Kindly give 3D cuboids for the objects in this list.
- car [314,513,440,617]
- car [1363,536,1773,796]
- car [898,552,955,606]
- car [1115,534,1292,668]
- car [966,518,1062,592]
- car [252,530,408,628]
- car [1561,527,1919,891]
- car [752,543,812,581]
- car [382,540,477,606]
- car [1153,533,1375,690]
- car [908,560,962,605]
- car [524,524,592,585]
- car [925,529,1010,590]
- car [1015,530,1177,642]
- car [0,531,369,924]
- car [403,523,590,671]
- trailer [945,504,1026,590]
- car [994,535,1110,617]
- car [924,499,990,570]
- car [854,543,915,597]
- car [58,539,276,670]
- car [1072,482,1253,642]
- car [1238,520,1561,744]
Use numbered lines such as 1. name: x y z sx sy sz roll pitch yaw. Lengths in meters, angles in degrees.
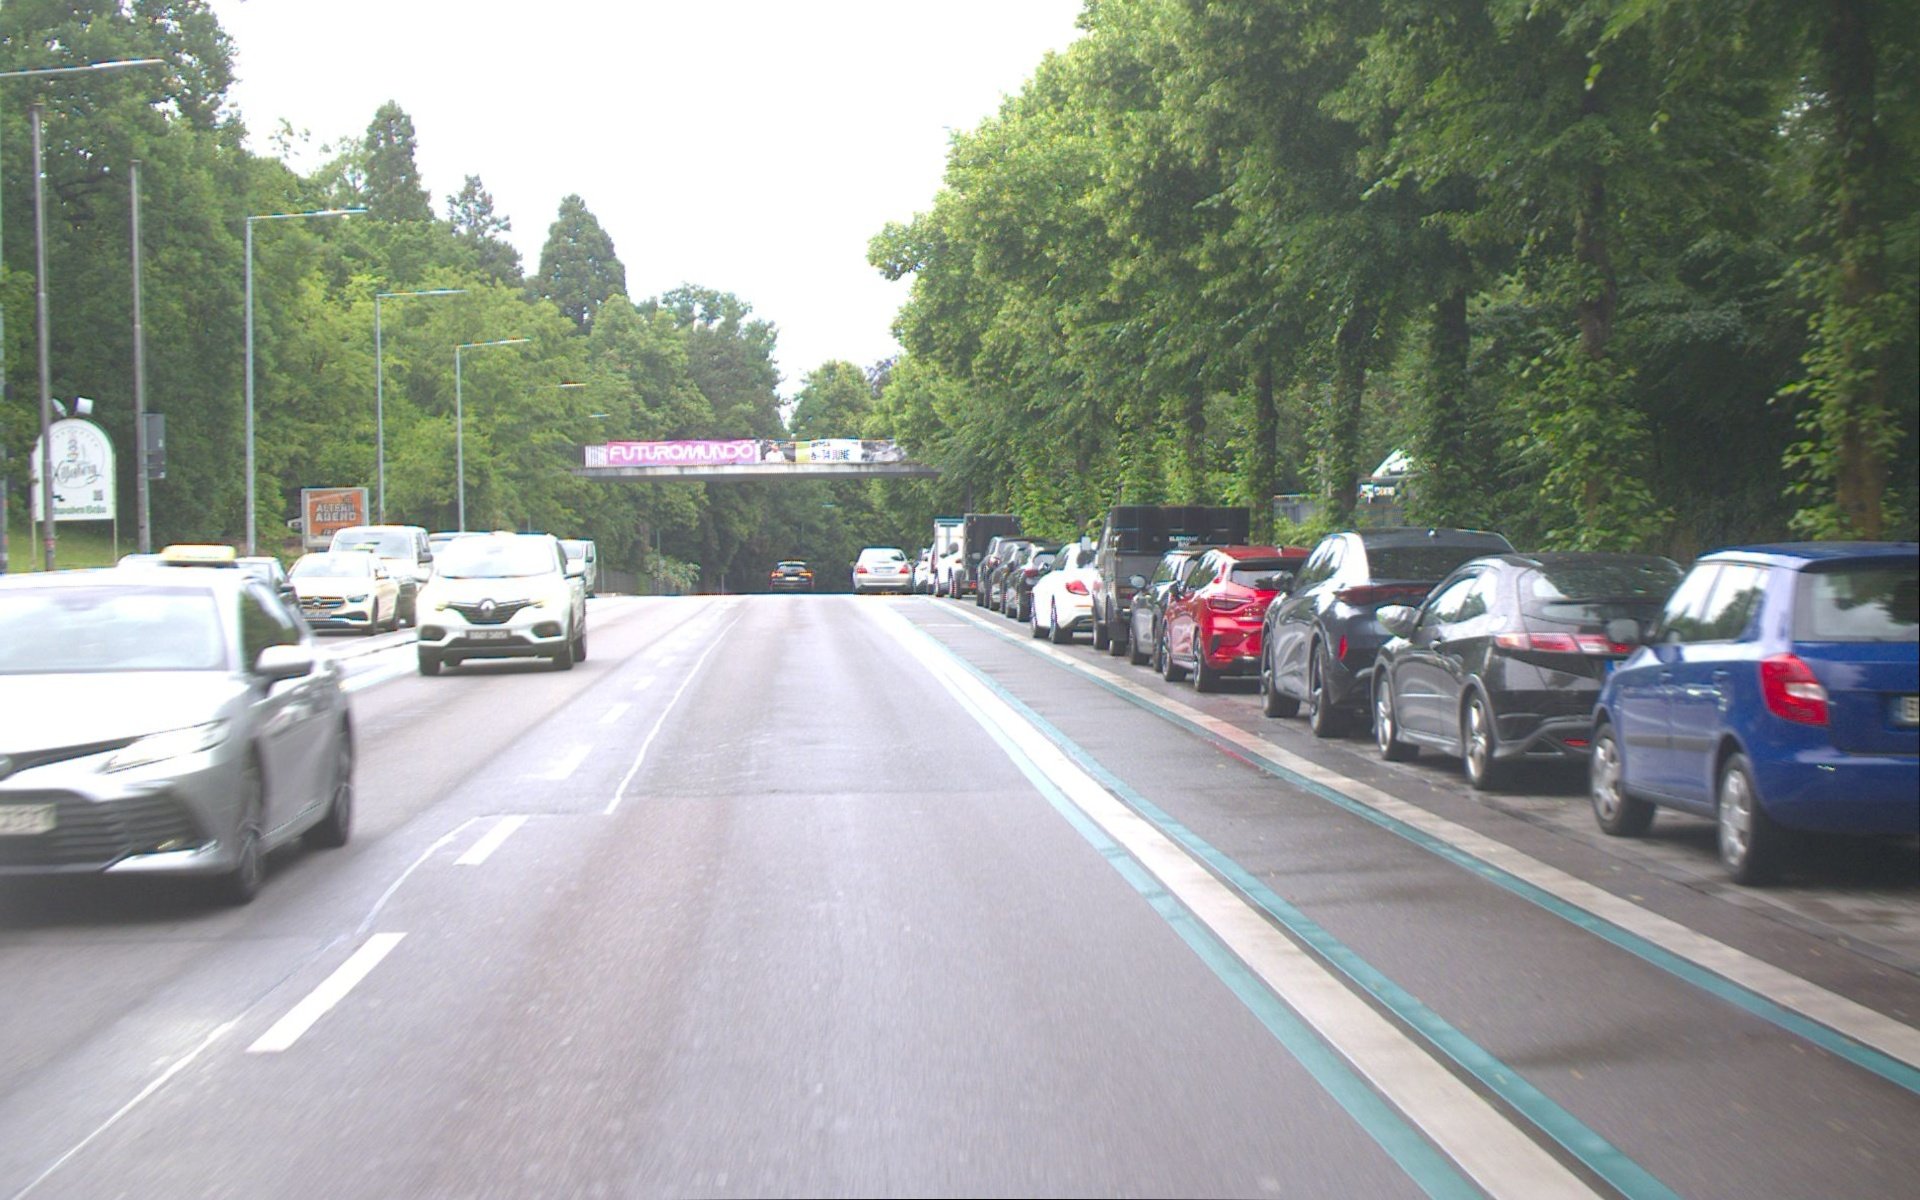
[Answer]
1. car: -11.525 -0.728 68.225 1.913 1.924 4.929 -1 2 -4
2. car: 3.763 0.346 21.962 1.686 1.451 4.147 1 1 -3
3. car: -1.092 -0.695 111.090 1.731 1.678 4.045 -1 1 -2
4. car: 2.780 -0.025 39.890 1.606 1.448 3.747 1 1 -3
5. car: 1.171 -1.015 76.621 1.731 1.578 4.155 1 1 -5
6. car: -11.299 -0.419 61.924 1.990 1.600 4.985 -1 2 -2
7. car: 4.130 0.426 16.355 1.686 1.508 3.835 1 1 -3
8. car: -7.223 -1.545 139.141 2.140 1.487 4.499 1 1 -6
9. car: -12.109 -0.635 78.675 1.731 1.385 4.371 -1 2 -4
10. car: 3.025 0.070 34.930 1.686 1.448 4.166 1 1 -3
11. car: -0.875 -0.608 117.806 1.731 1.457 4.045 -1 1 -2
12. car: -13.342 -1.524 114.315 1.757 1.925 4.193 -1 2 0
13. car: 0.184 -1.118 92.912 1.730 1.578 4.155 -1 1 -7
14. car: 1.941 -0.233 50.570 1.789 1.537 4.890 1 1 -5
15. car: -4.007 0.467 15.935 1.921 1.555 4.621 0 1 -3
16. car: -5.541 -0.080 41.520 1.795 1.646 4.129 -2 1 -2
17. trailer: 0.633 -1.374 88.807 1.883 2.158 3.808 -1 1 -2
18. car: 1.704 -0.469 64.713 1.731 1.458 4.278 0 1 -5
19. car: -0.106 -2.009 105.478 1.889 2.119 4.045 0 1 -2
20. car: -2.354 -0.944 106.045 1.731 1.578 4.037 -1 1 -3
21. car: -9.921 0.007 43.334 2.076 1.477 4.674 -1 2 -6
22. car: 2.632 -0.534 45.701 1.926 2.015 4.664 0 1 -2
23. car: 3.361 0.179 27.101 1.756 1.584 4.499 1 1 -3
